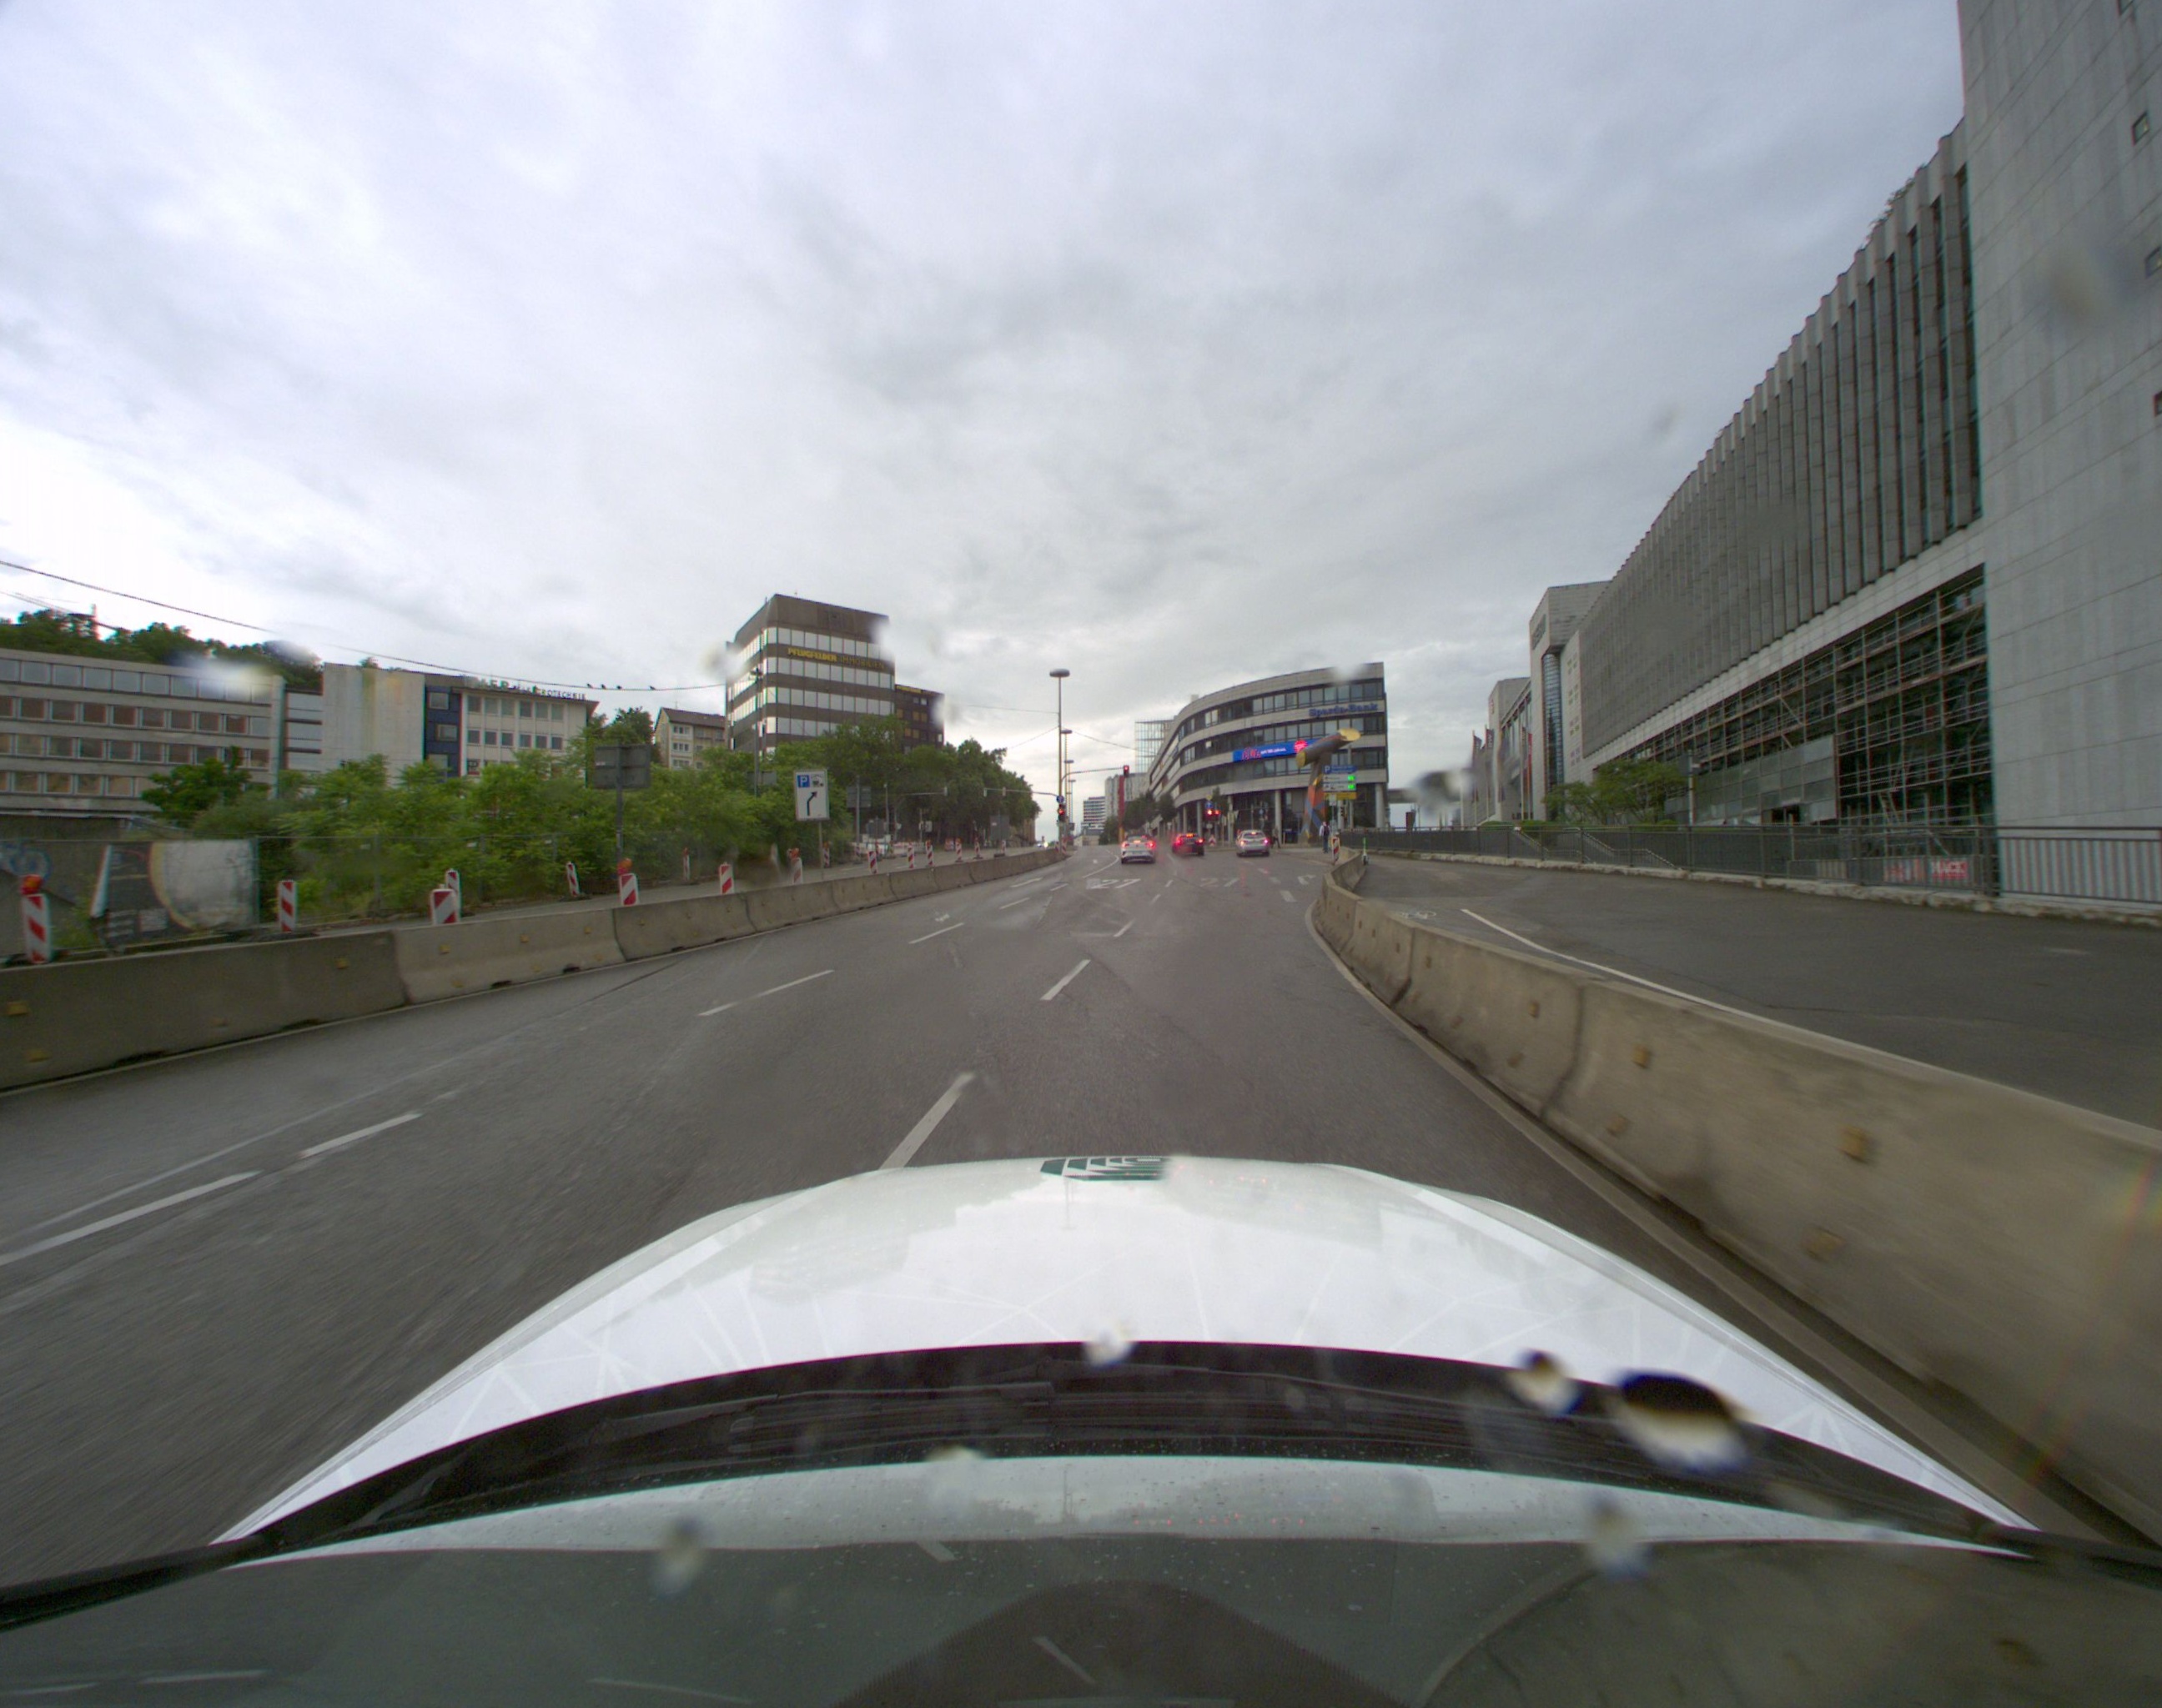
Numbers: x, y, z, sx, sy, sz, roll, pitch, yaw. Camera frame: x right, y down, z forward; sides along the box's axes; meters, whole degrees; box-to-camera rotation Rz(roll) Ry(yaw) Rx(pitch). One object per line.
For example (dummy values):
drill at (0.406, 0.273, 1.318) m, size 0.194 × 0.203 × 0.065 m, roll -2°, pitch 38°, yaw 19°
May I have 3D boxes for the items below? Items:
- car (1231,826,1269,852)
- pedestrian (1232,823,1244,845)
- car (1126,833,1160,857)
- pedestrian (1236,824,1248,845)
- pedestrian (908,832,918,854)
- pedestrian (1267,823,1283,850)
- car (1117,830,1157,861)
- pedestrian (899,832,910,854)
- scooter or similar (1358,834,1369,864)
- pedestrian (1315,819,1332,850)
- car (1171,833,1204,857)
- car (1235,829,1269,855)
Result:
car at (11.307, -0.999, 54.232) m, size 1.756 × 1.634 × 4.605 m, roll -1°, pitch 1°, yaw 21°
pedestrian at (13.787, -1.744, 71.617) m, size 0.833 × 1.905 × 0.866 m, roll -1°, pitch -1°, yaw 26°
car at (3.920, -0.588, 52.035) m, size 1.735 × 1.443 × 3.997 m, roll -1°, pitch 1°, yaw -2°
pedestrian at (14.317, -1.729, 72.542) m, size 0.833 × 1.904 × 0.736 m, roll -1°, pitch 0°, yaw 26°
pedestrian at (-14.793, -0.968, 71.602) m, size 0.669 × 1.901 × 0.776 m, roll -1°, pitch -1°, yaw 3°
pedestrian at (15.382, -1.405, 64.570) m, size 0.856 × 2.098 × 0.898 m, roll 1°, pitch 1°, yaw -23°
car at (3.026, -0.501, 43.450) m, size 1.954 × 1.548 × 4.226 m, roll -1°, pitch 1°, yaw 5°
pedestrian at (-15.538, -0.979, 71.615) m, size 0.758 × 1.922 × 0.743 m, roll -1°, pitch -1°, yaw 3°
scooter or similar at (10.941, -0.203, 31.565) m, size 0.346 × 1.162 × 0.575 m, roll -1°, pitch 0°, yaw 16°
pedestrian at (13.681, -1.084, 45.939) m, size 0.727 × 1.711 × 0.843 m, roll -1°, pitch -1°, yaw 0°
car at (6.665, -0.536, 51.230) m, size 1.747 × 1.407 × 4.232 m, roll 1°, pitch 0°, yaw 4°
car at (9.919, -0.664, 47.496) m, size 1.691 × 1.451 × 4.627 m, roll 0°, pitch 0°, yaw 8°
